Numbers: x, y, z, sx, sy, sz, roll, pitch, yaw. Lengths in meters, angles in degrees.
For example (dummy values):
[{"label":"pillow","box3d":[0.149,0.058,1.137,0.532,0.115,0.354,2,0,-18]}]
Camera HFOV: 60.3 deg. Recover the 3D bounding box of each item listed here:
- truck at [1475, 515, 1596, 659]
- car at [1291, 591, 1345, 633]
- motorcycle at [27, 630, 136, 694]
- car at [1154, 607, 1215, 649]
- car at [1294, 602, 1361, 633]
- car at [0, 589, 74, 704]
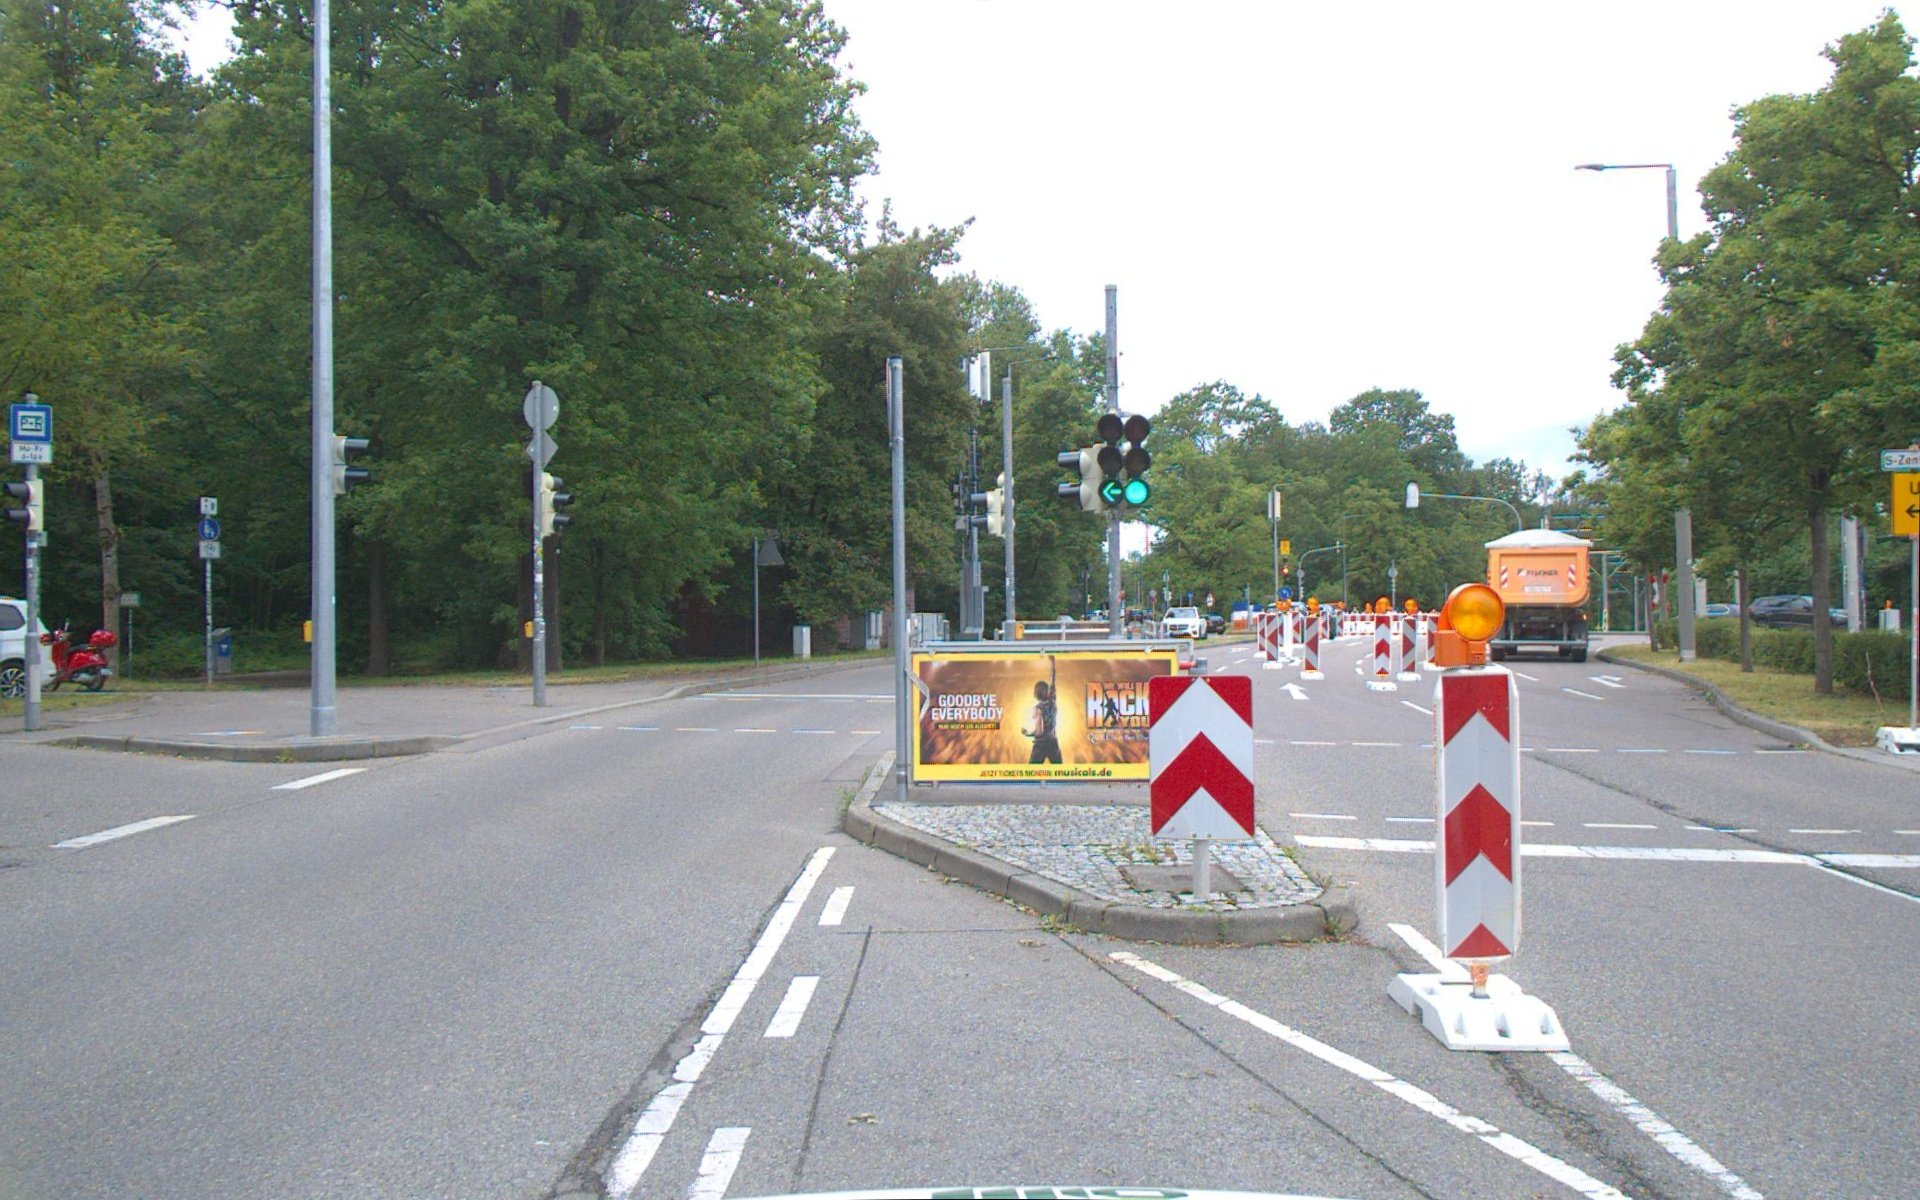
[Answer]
[{"label":"truck","box3d":[15.867,-0.342,45.365,2.800,3.576,8.249,-1,0,21]},{"label":"car","box3d":[15.636,0.535,72.183,1.759,1.769,3.703,0,-1,21]},{"label":"motorcycle","box3d":[-16.684,1.166,31.400,1.963,1.181,0.677,-1,0,20]},{"label":"car","box3d":[10.190,1.266,74.776,1.952,1.780,4.580,0,-1,18]},{"label":"car","box3d":[23.083,1.093,104.031,1.974,1.915,3.956,1,-1,-32]},{"label":"car","box3d":[-15.908,0.757,24.409,2.119,1.723,4.525,-3,0,31]}]
